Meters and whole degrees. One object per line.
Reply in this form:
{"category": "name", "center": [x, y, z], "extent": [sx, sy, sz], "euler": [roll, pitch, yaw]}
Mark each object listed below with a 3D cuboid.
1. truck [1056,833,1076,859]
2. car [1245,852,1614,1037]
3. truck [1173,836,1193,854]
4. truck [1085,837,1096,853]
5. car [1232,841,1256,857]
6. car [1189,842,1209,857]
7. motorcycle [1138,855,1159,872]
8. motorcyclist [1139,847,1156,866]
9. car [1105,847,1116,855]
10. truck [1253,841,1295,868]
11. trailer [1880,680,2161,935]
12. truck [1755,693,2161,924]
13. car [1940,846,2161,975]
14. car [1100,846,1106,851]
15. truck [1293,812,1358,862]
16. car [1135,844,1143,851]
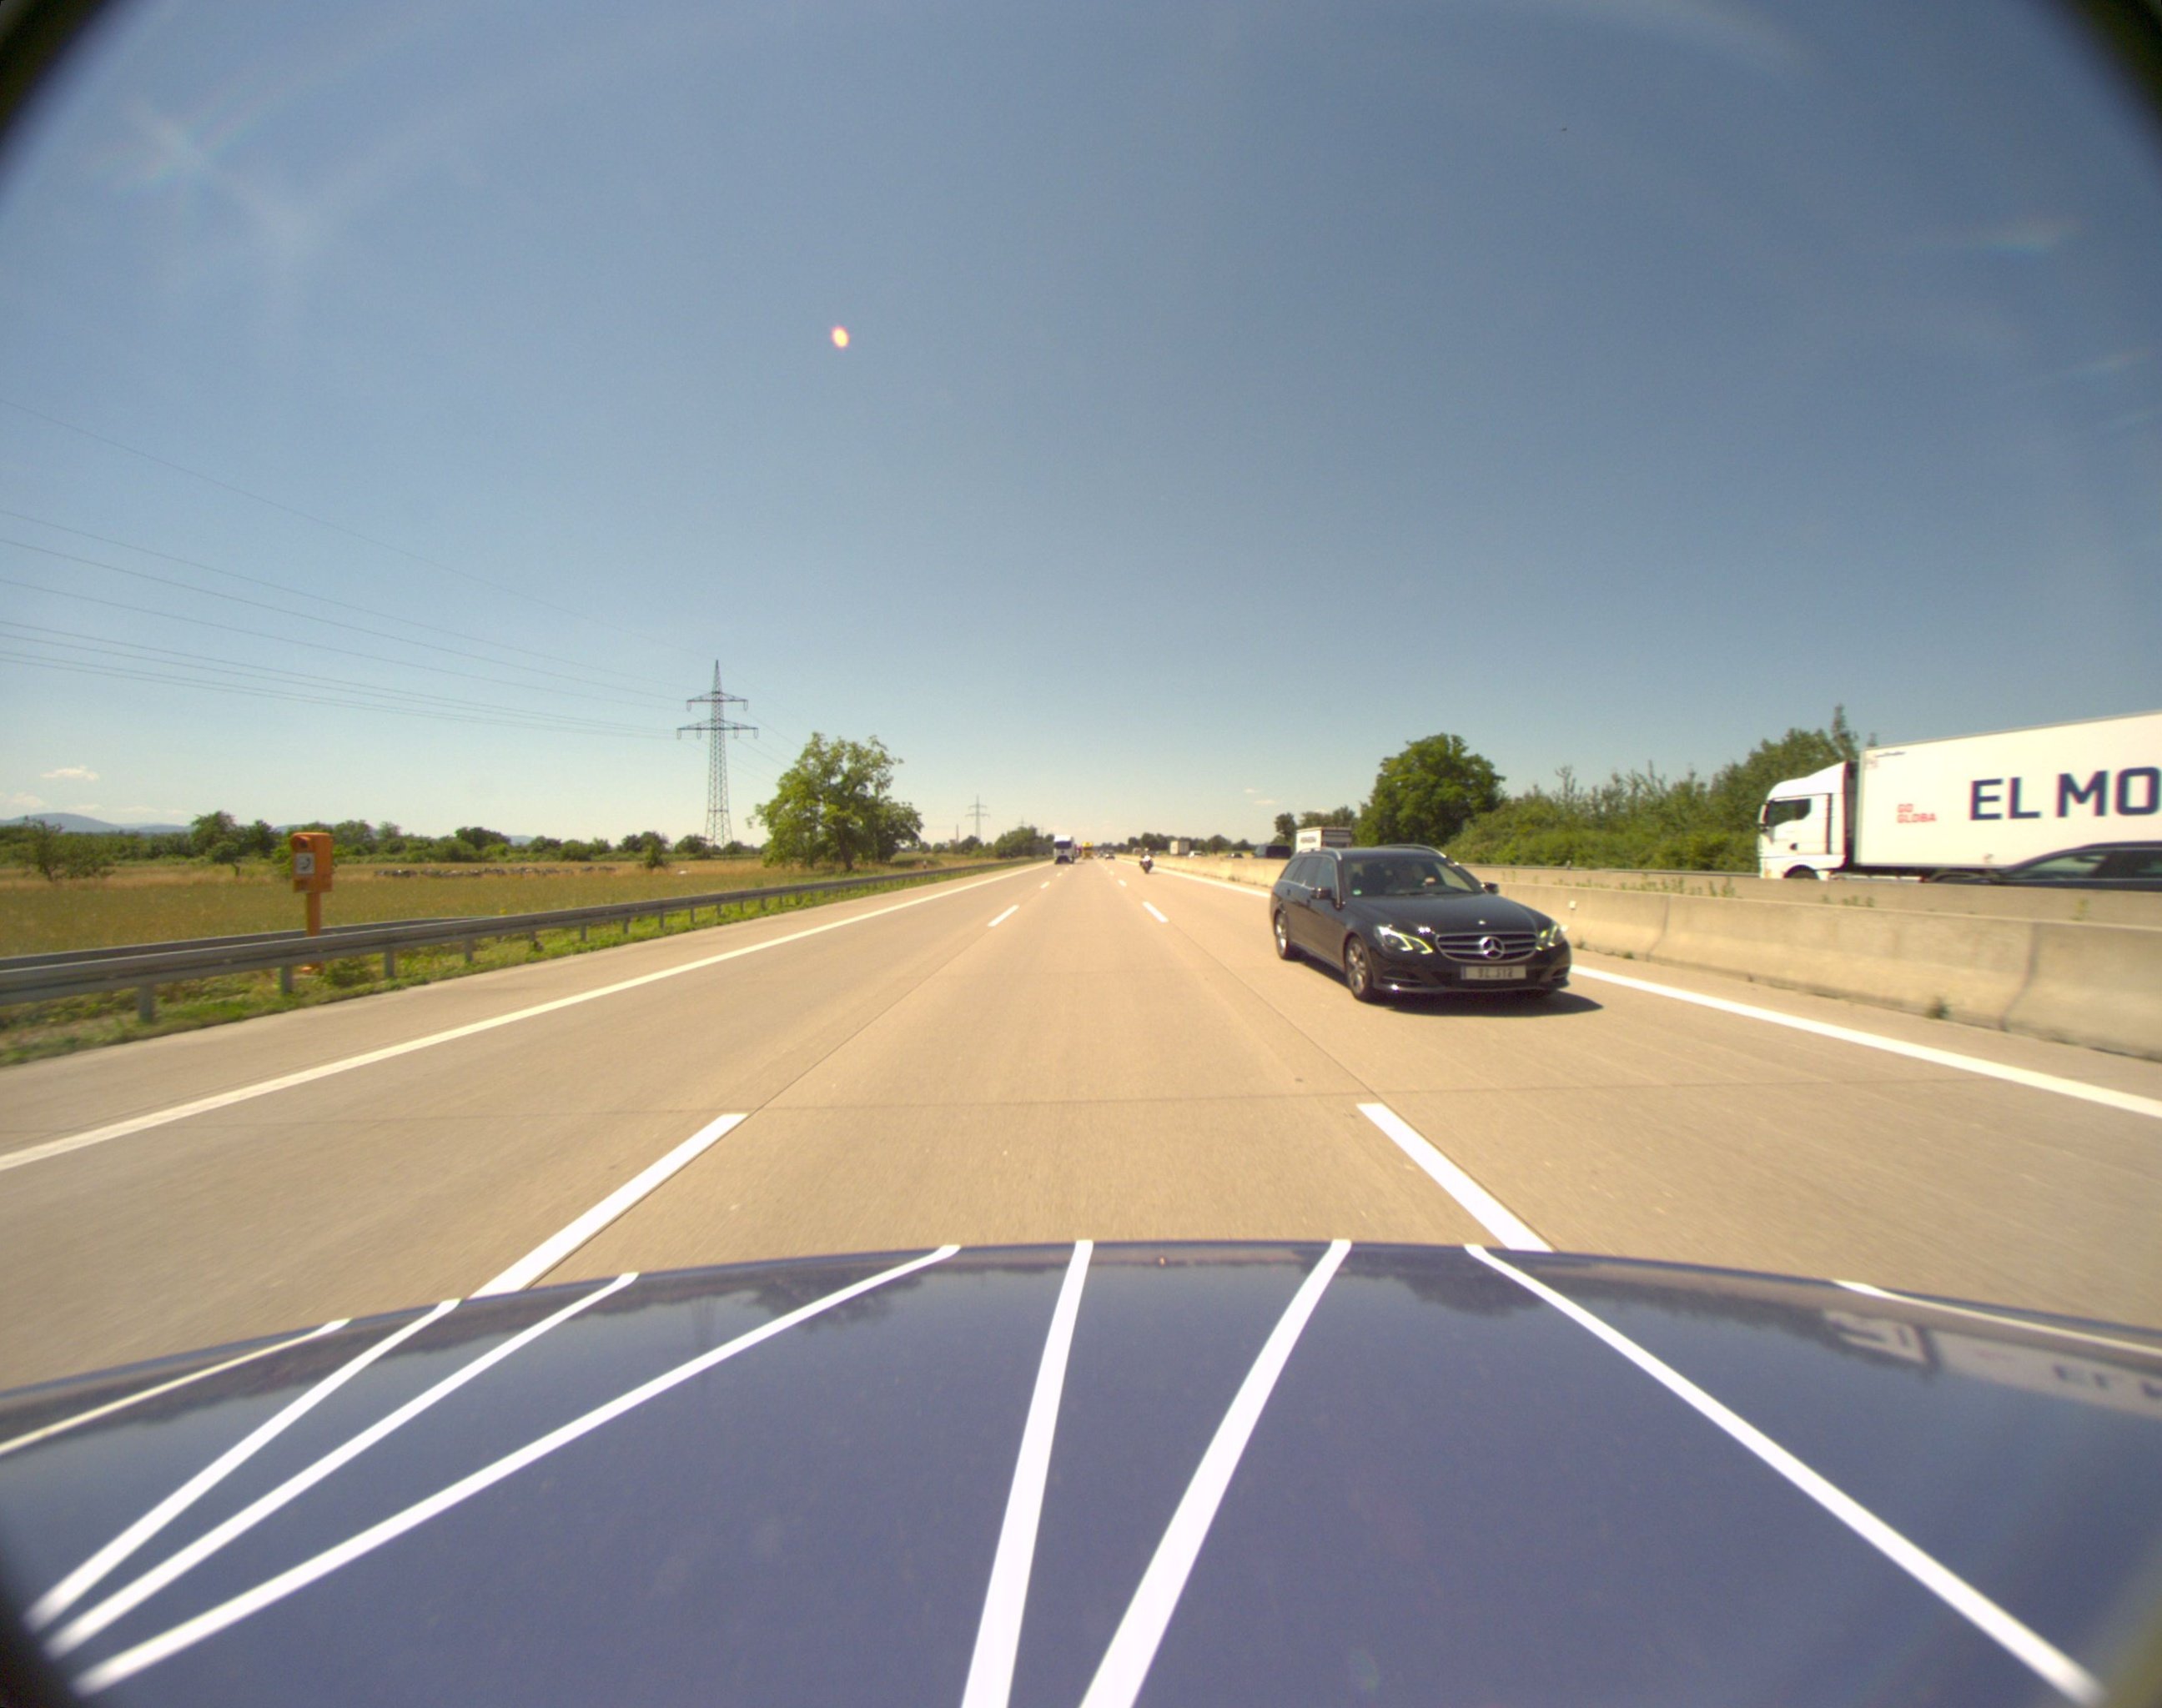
{"category": "truck", "center": [-2.096, -1.174, 109.267], "extent": [2.570, 3.514, 10.099], "euler": [-1, 1, 1]}
{"category": "car", "center": [3.484, 0.743, 9.075], "extent": [1.895, 1.465, 5.603], "euler": [-1, 1, 1]}
{"category": "truck", "center": [23.095, -2.014, 172.042], "extent": [3.569, 3.977, 7.519], "euler": [-2, 1, 1]}
{"category": "truck", "center": [2.362, -2.070, 182.690], "extent": [2.570, 3.711, 10.099], "euler": [-1, 1, 1]}
{"category": "car", "center": [18.374, -0.565, 85.733], "extent": [1.866, 1.750, 3.950], "euler": [-1, 1, 1]}
{"category": "car", "center": [14.297, -0.545, 91.965], "extent": [1.866, 1.750, 3.950], "euler": [-1, 1, 1]}
{"category": "motorcycle", "center": [4.489, 0.626, 50.970], "extent": [1.024, 1.043, 2.411], "euler": [-1, 1, -4]}
{"category": "motorcyclist", "center": [4.469, 0.153, 50.950], "extent": [1.027, 1.202, 0.911], "euler": [-1, 1, -3]}
{"category": "car", "center": [5.795, -0.675, 149.414], "extent": [1.998, 1.518, 4.000], "euler": [-1, 1, 1]}
{"category": "truck", "center": [13.143, 0.045, 52.009], "extent": [1.866, 1.750, 3.950], "euler": [-1, 1, 1]}
{"category": "trailer", "center": [20.461, -0.822, 11.587], "extent": [2.809, 4.511, 13.233], "euler": [-1, 1, 1]}
{"category": "truck", "center": [20.584, -0.926, 18.329], "extent": [2.809, 4.511, 6.661], "euler": [-1, 1, 1]}
{"category": "car", "center": [12.709, 0.617, 8.583], "extent": [1.745, 1.392, 3.807], "euler": [-1, 1, 1]}
{"category": "car", "center": [6.367, -1.527, 217.371], "extent": [1.586, 1.527, 3.611], "euler": [-1, 1, 1]}
{"category": "truck", "center": [21.394, -1.450, 67.053], "extent": [3.240, 4.150, 8.127], "euler": [-1, 1, 1]}
{"category": "car", "center": [15.194, -1.600, 198.262], "extent": [1.889, 1.724, 3.999], "euler": [-2, 1, 1]}
